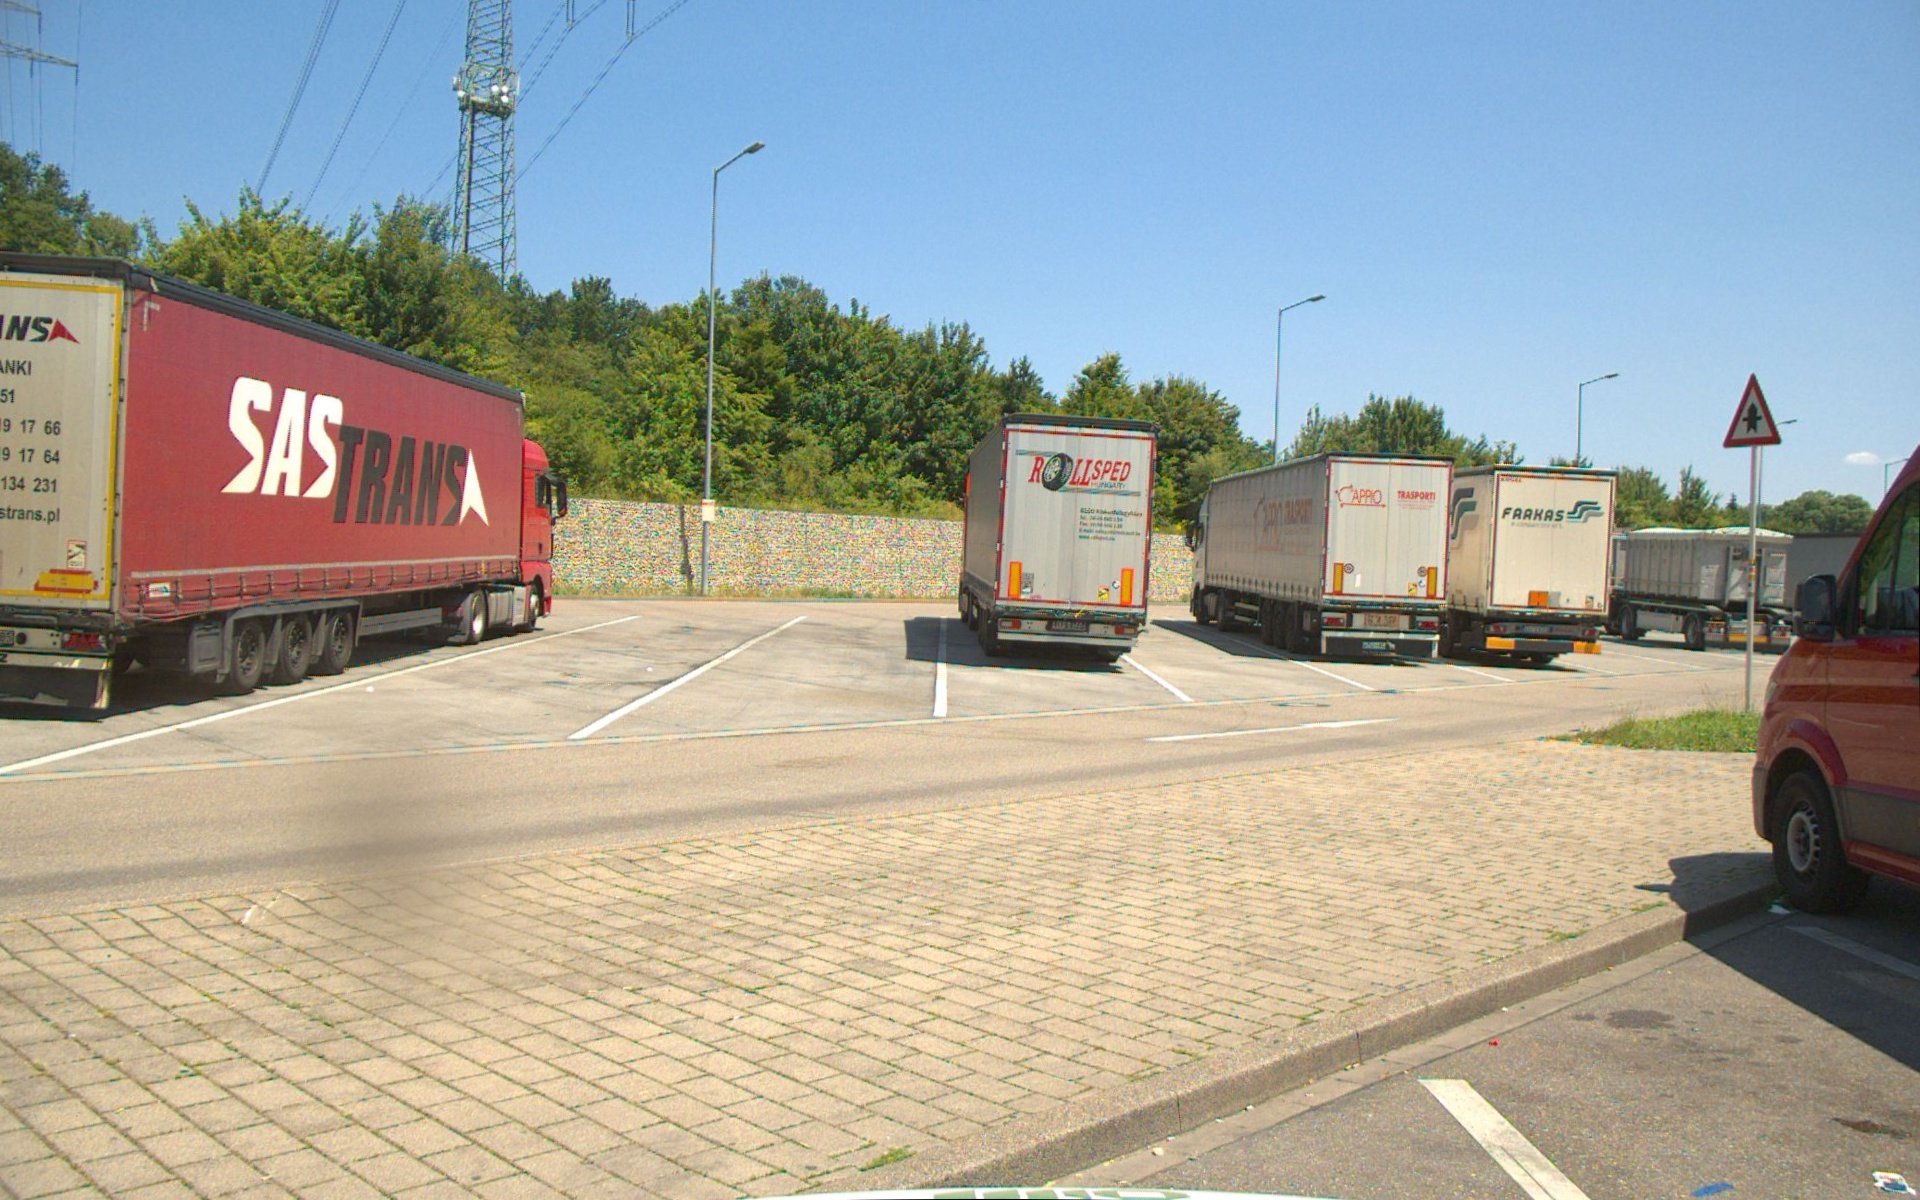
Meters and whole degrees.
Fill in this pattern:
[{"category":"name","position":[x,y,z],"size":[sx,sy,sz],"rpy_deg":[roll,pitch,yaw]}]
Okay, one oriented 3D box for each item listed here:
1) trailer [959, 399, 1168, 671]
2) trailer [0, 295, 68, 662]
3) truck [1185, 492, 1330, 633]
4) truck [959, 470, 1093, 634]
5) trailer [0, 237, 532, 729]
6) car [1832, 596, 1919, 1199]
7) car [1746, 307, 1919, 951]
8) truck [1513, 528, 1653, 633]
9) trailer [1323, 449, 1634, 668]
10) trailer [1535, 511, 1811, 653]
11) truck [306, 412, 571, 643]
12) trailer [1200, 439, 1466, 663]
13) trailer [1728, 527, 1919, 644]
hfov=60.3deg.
[{"category":"trailer","position":[1.647,-1.242,33.225],"size":[2.848,4.204,13.720],"rpy_deg":[2,2,-1]},{"category":"trailer","position":[-12.528,-1.312,15.689],"size":[2.673,4.282,10.170],"rpy_deg":[2,2,-1]},{"category":"truck","position":[8.094,-1.054,45.623],"size":[2.794,3.544,5.482],"rpy_deg":[2,2,-1]},{"category":"truck","position":[1.479,-1.156,39.834],"size":[2.794,3.544,5.482],"rpy_deg":[2,2,-1]},{"category":"trailer","position":[-8.682,-1.303,21.172],"size":[2.848,4.203,13.723],"rpy_deg":[2,2,-1]},{"category":"car","position":[2.596,0.796,1.141],"size":[1.703,1.508,3.813],"rpy_deg":[1,1,-6]},{"category":"car","position":[5.007,0.160,5.546],"size":[2.023,2.742,6.397],"rpy_deg":[1,1,4]},{"category":"truck","position":[22.006,-0.736,58.697],"size":[2.794,3.423,5.484],"rpy_deg":[3,2,0]},{"category":"trailer","position":[11.767,-1.032,39.618],"size":[2.781,4.204,13.722],"rpy_deg":[2,2,-1]},{"category":"trailer","position":[21.925,-0.704,52.193],"size":[2.780,3.781,13.726],"rpy_deg":[2,2,1]},{"category":"truck","position":[-8.796,-1.214,28.608],"size":[2.794,3.487,5.482],"rpy_deg":[2,2,-1]},{"category":"trailer","position":[8.208,-1.152,38.813],"size":[2.781,4.204,13.722],"rpy_deg":[2,2,-1]},{"category":"trailer","position":[34.938,-0.670,65.396],"size":[2.780,4.119,13.726],"rpy_deg":[2,2,1]}]
